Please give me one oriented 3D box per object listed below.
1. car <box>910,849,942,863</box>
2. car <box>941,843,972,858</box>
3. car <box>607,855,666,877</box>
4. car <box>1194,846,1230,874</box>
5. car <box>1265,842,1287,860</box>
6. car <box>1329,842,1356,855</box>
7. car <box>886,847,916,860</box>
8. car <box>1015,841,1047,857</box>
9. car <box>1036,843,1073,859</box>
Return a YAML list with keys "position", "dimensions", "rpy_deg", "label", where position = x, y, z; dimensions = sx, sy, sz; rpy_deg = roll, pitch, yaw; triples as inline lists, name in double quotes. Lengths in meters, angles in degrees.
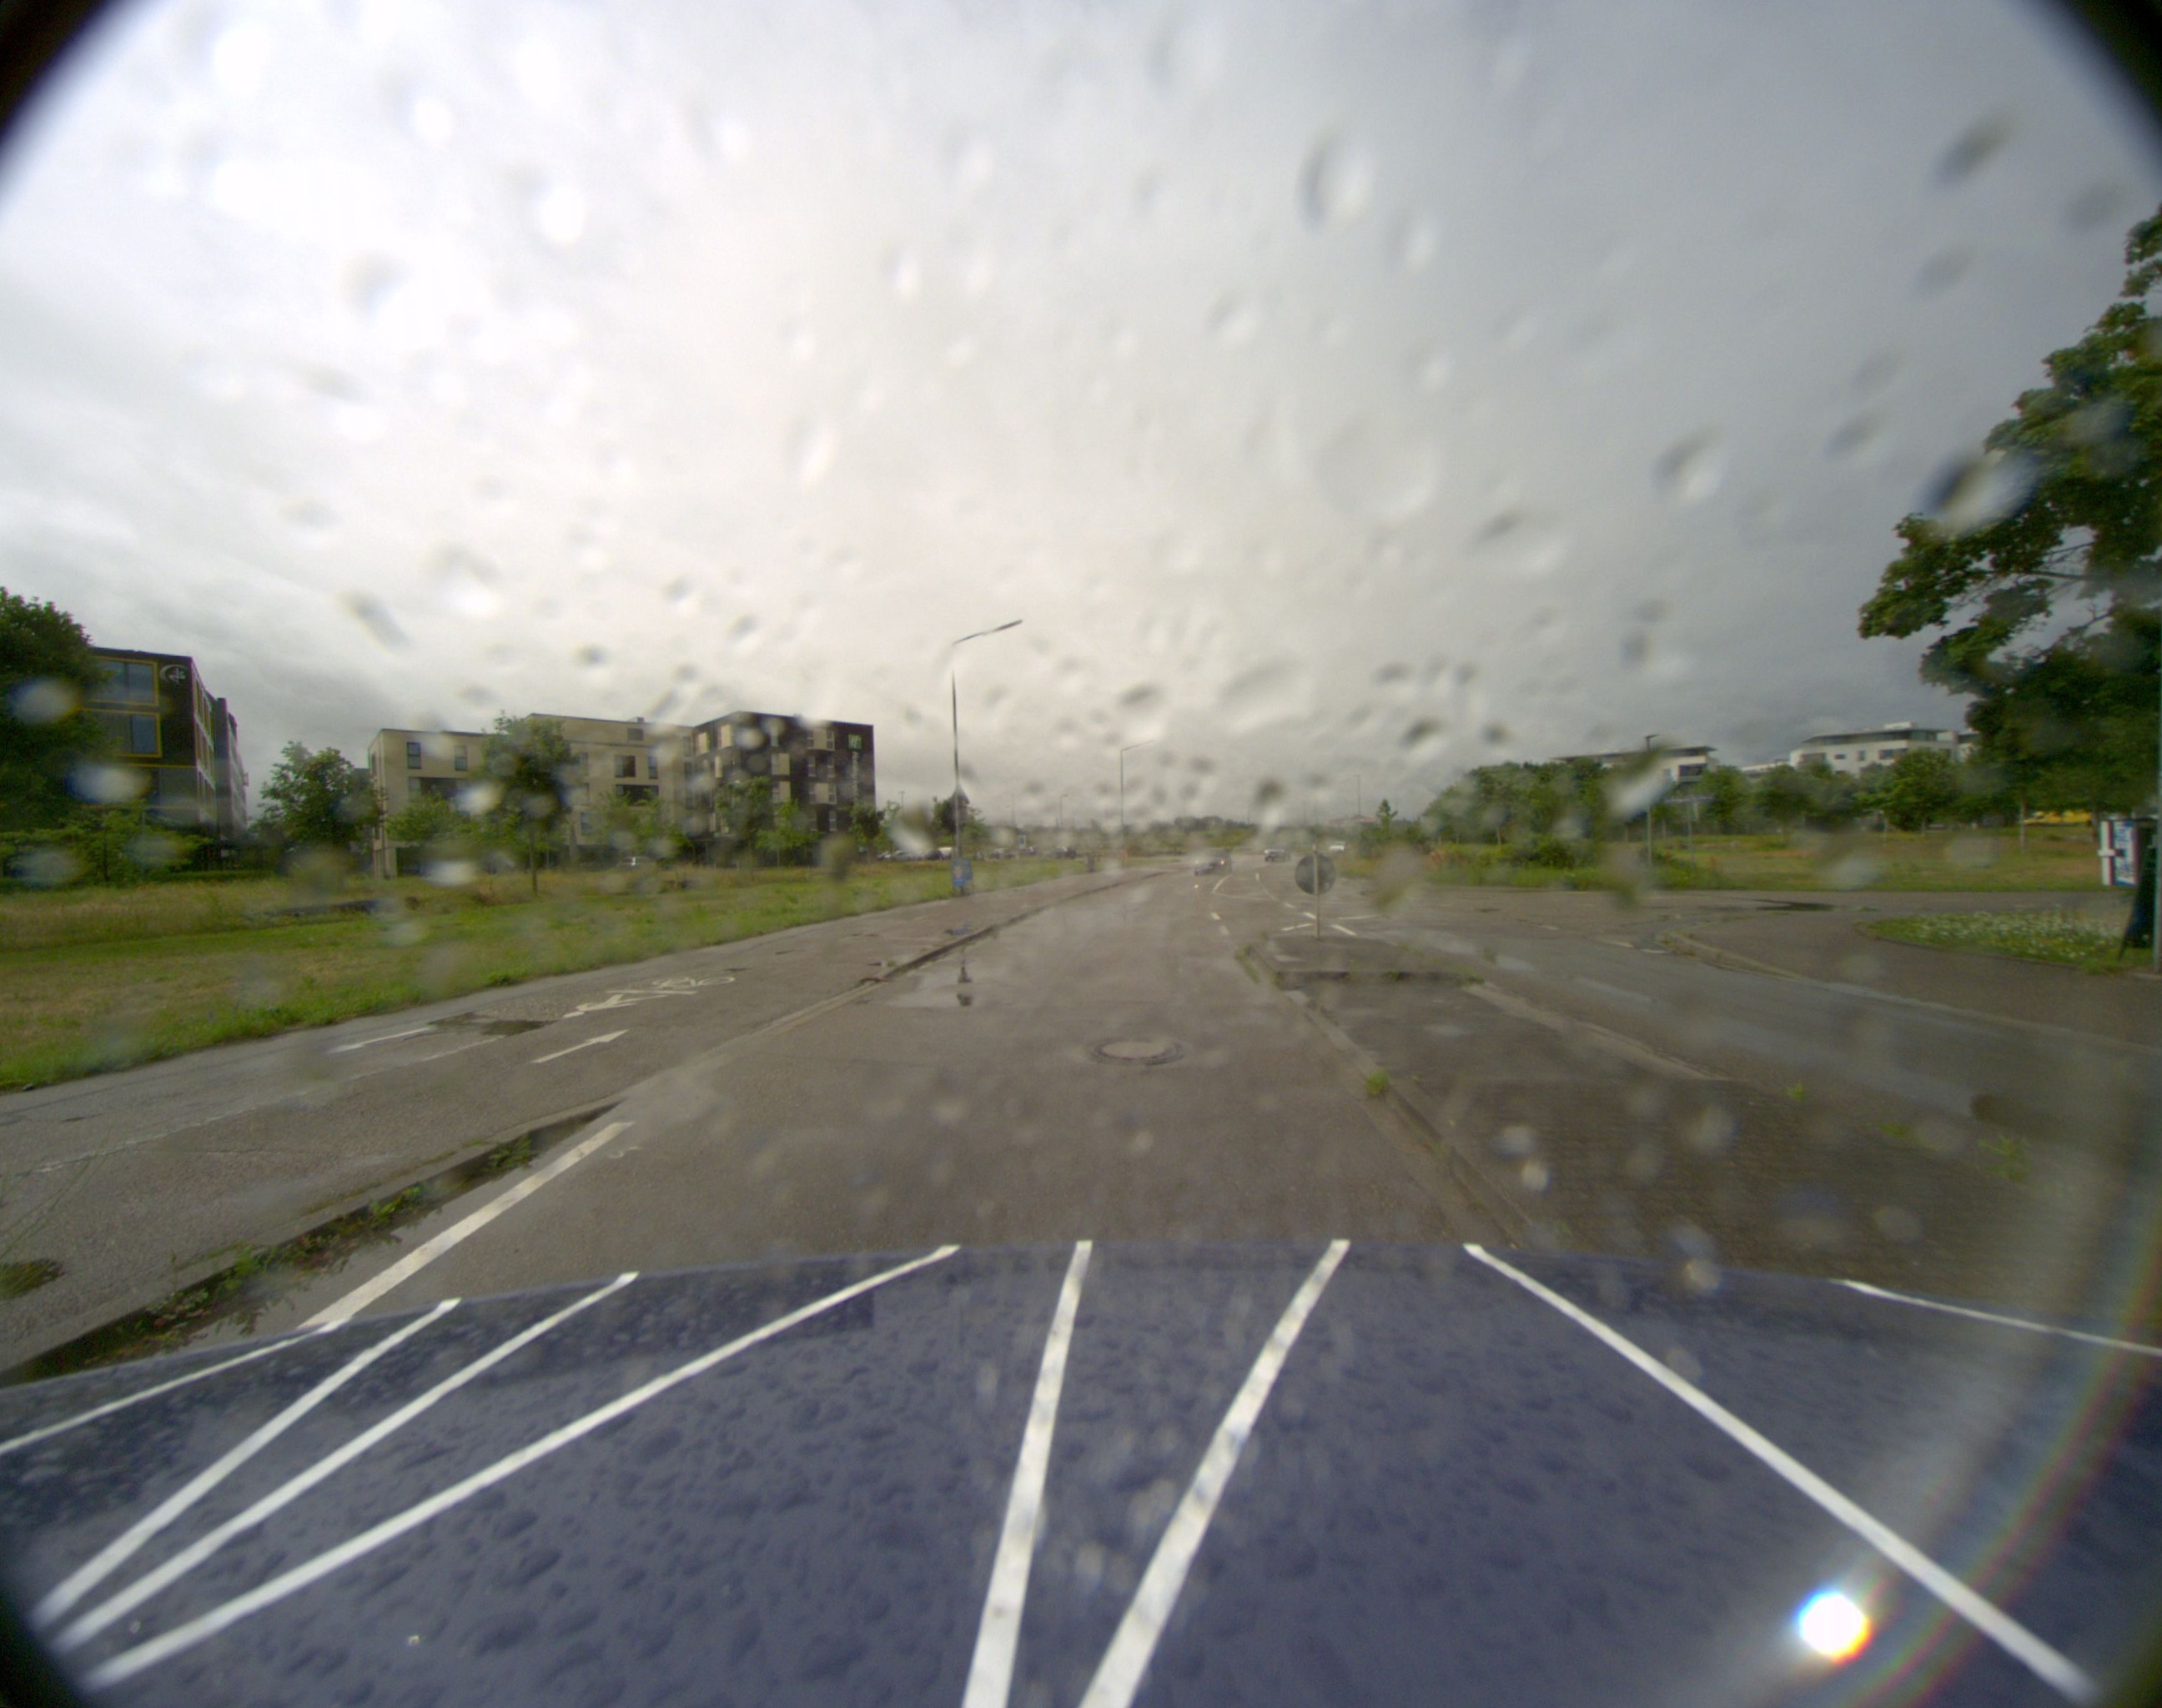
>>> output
- position: [-20.003, 0.200, 98.186]
  dimensions: [3.656, 1.652, 1.646]
  rpy_deg: [-3, 1, -35]
  label: "car"
- position: [-18.414, -0.571, 112.834]
  dimensions: [4.007, 2.002, 1.994]
  rpy_deg: [-3, 1, -43]
  label: "car"
- position: [-35.313, 0.952, 60.419]
  dimensions: [1.644, 1.574, 3.674]
  rpy_deg: [-2, 1, 25]
  label: "car"
- position: [7.560, 0.306, 43.641]
  dimensions: [1.722, 1.423, 3.821]
  rpy_deg: [-2, 1, 14]
  label: "car"
- position: [18.956, -0.313, 73.747]
  dimensions: [1.645, 1.624, 3.673]
  rpy_deg: [-2, 1, 19]
  label: "car"
- position: [33.632, -0.708, 97.680]
  dimensions: [1.793, 1.624, 3.825]
  rpy_deg: [-1, 1, 42]
  label: "car"
- position: [-24.567, -0.068, 103.889]
  dimensions: [3.656, 1.602, 1.596]
  rpy_deg: [-3, 1, -39]
  label: "car"
- position: [-6.672, -0.627, 101.576]
  dimensions: [3.989, 2.002, 2.004]
  rpy_deg: [-1, 1, 43]
  label: "car"
- position: [-2.946, -0.364, 84.041]
  dimensions: [3.807, 1.624, 1.802]
  rpy_deg: [-2, 1, 40]
  label: "car"
